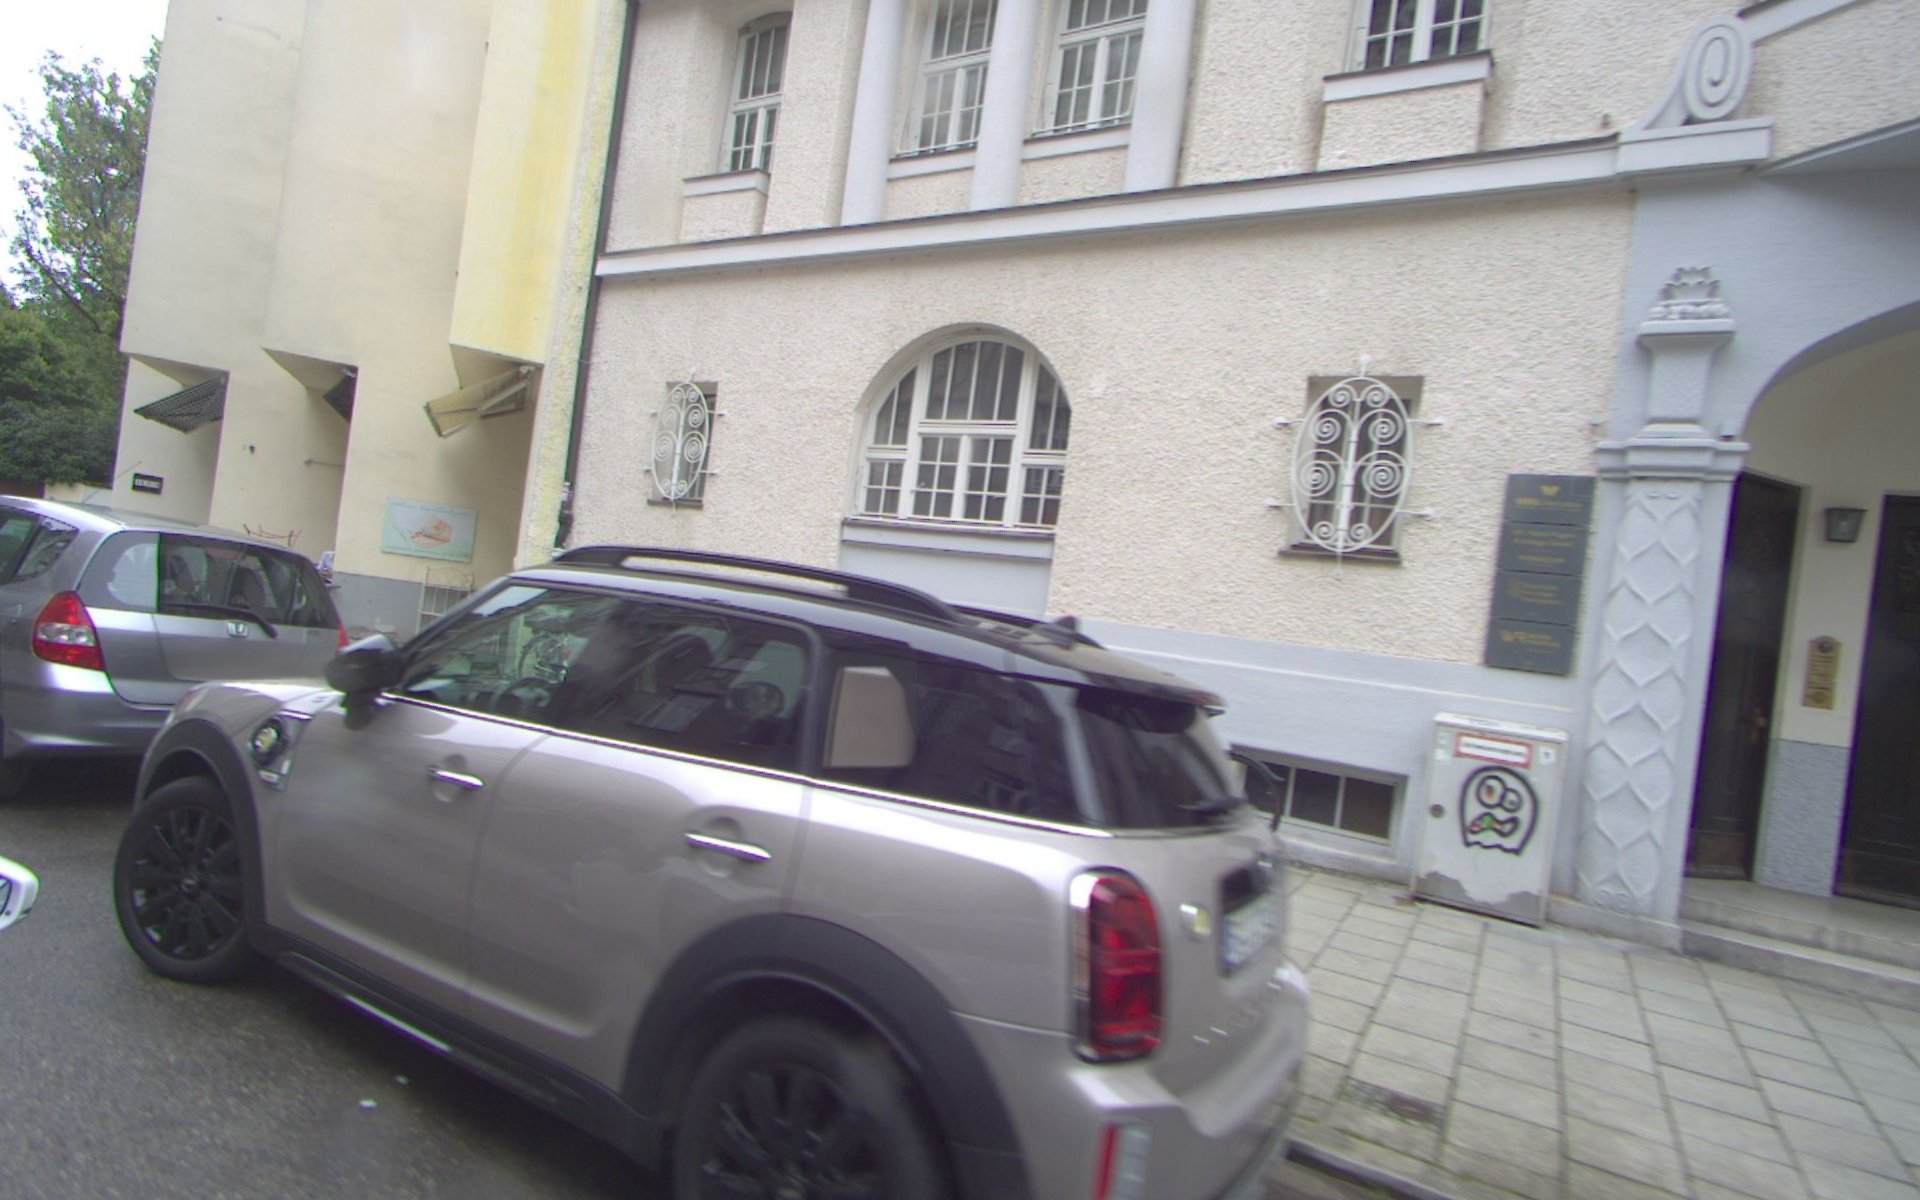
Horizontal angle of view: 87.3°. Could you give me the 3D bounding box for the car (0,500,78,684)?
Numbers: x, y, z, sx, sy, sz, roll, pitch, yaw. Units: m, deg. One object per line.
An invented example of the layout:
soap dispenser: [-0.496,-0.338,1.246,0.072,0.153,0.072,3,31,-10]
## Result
car: [-9.645,-0.299,8.791,3.789,1.489,1.638,7,-1,29]

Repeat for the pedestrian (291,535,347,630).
pedestrian: [-10.201,-0.279,16.026,0.526,1.415,0.669,8,-1,-26]

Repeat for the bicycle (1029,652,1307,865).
bicycle: [1.455,1.075,7.179,1.757,1.164,0.482,7,-1,29]

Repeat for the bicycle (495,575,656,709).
bicycle: [-4.144,0.431,10.822,1.647,1.208,0.564,7,2,26]

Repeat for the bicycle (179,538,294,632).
bicycle: [-9.282,-0.216,12.980,0.743,1.045,1.789,6,1,-23]

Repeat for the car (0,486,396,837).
car: [-5.482,0.154,6.115,3.787,1.555,1.638,7,-1,27]

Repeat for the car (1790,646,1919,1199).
car: [3.624,1.134,0.497,4.595,1.708,1.998,7,-2,31]

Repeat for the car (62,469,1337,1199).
car: [-1.008,0.618,3.347,3.900,1.610,1.638,7,-1,29]
